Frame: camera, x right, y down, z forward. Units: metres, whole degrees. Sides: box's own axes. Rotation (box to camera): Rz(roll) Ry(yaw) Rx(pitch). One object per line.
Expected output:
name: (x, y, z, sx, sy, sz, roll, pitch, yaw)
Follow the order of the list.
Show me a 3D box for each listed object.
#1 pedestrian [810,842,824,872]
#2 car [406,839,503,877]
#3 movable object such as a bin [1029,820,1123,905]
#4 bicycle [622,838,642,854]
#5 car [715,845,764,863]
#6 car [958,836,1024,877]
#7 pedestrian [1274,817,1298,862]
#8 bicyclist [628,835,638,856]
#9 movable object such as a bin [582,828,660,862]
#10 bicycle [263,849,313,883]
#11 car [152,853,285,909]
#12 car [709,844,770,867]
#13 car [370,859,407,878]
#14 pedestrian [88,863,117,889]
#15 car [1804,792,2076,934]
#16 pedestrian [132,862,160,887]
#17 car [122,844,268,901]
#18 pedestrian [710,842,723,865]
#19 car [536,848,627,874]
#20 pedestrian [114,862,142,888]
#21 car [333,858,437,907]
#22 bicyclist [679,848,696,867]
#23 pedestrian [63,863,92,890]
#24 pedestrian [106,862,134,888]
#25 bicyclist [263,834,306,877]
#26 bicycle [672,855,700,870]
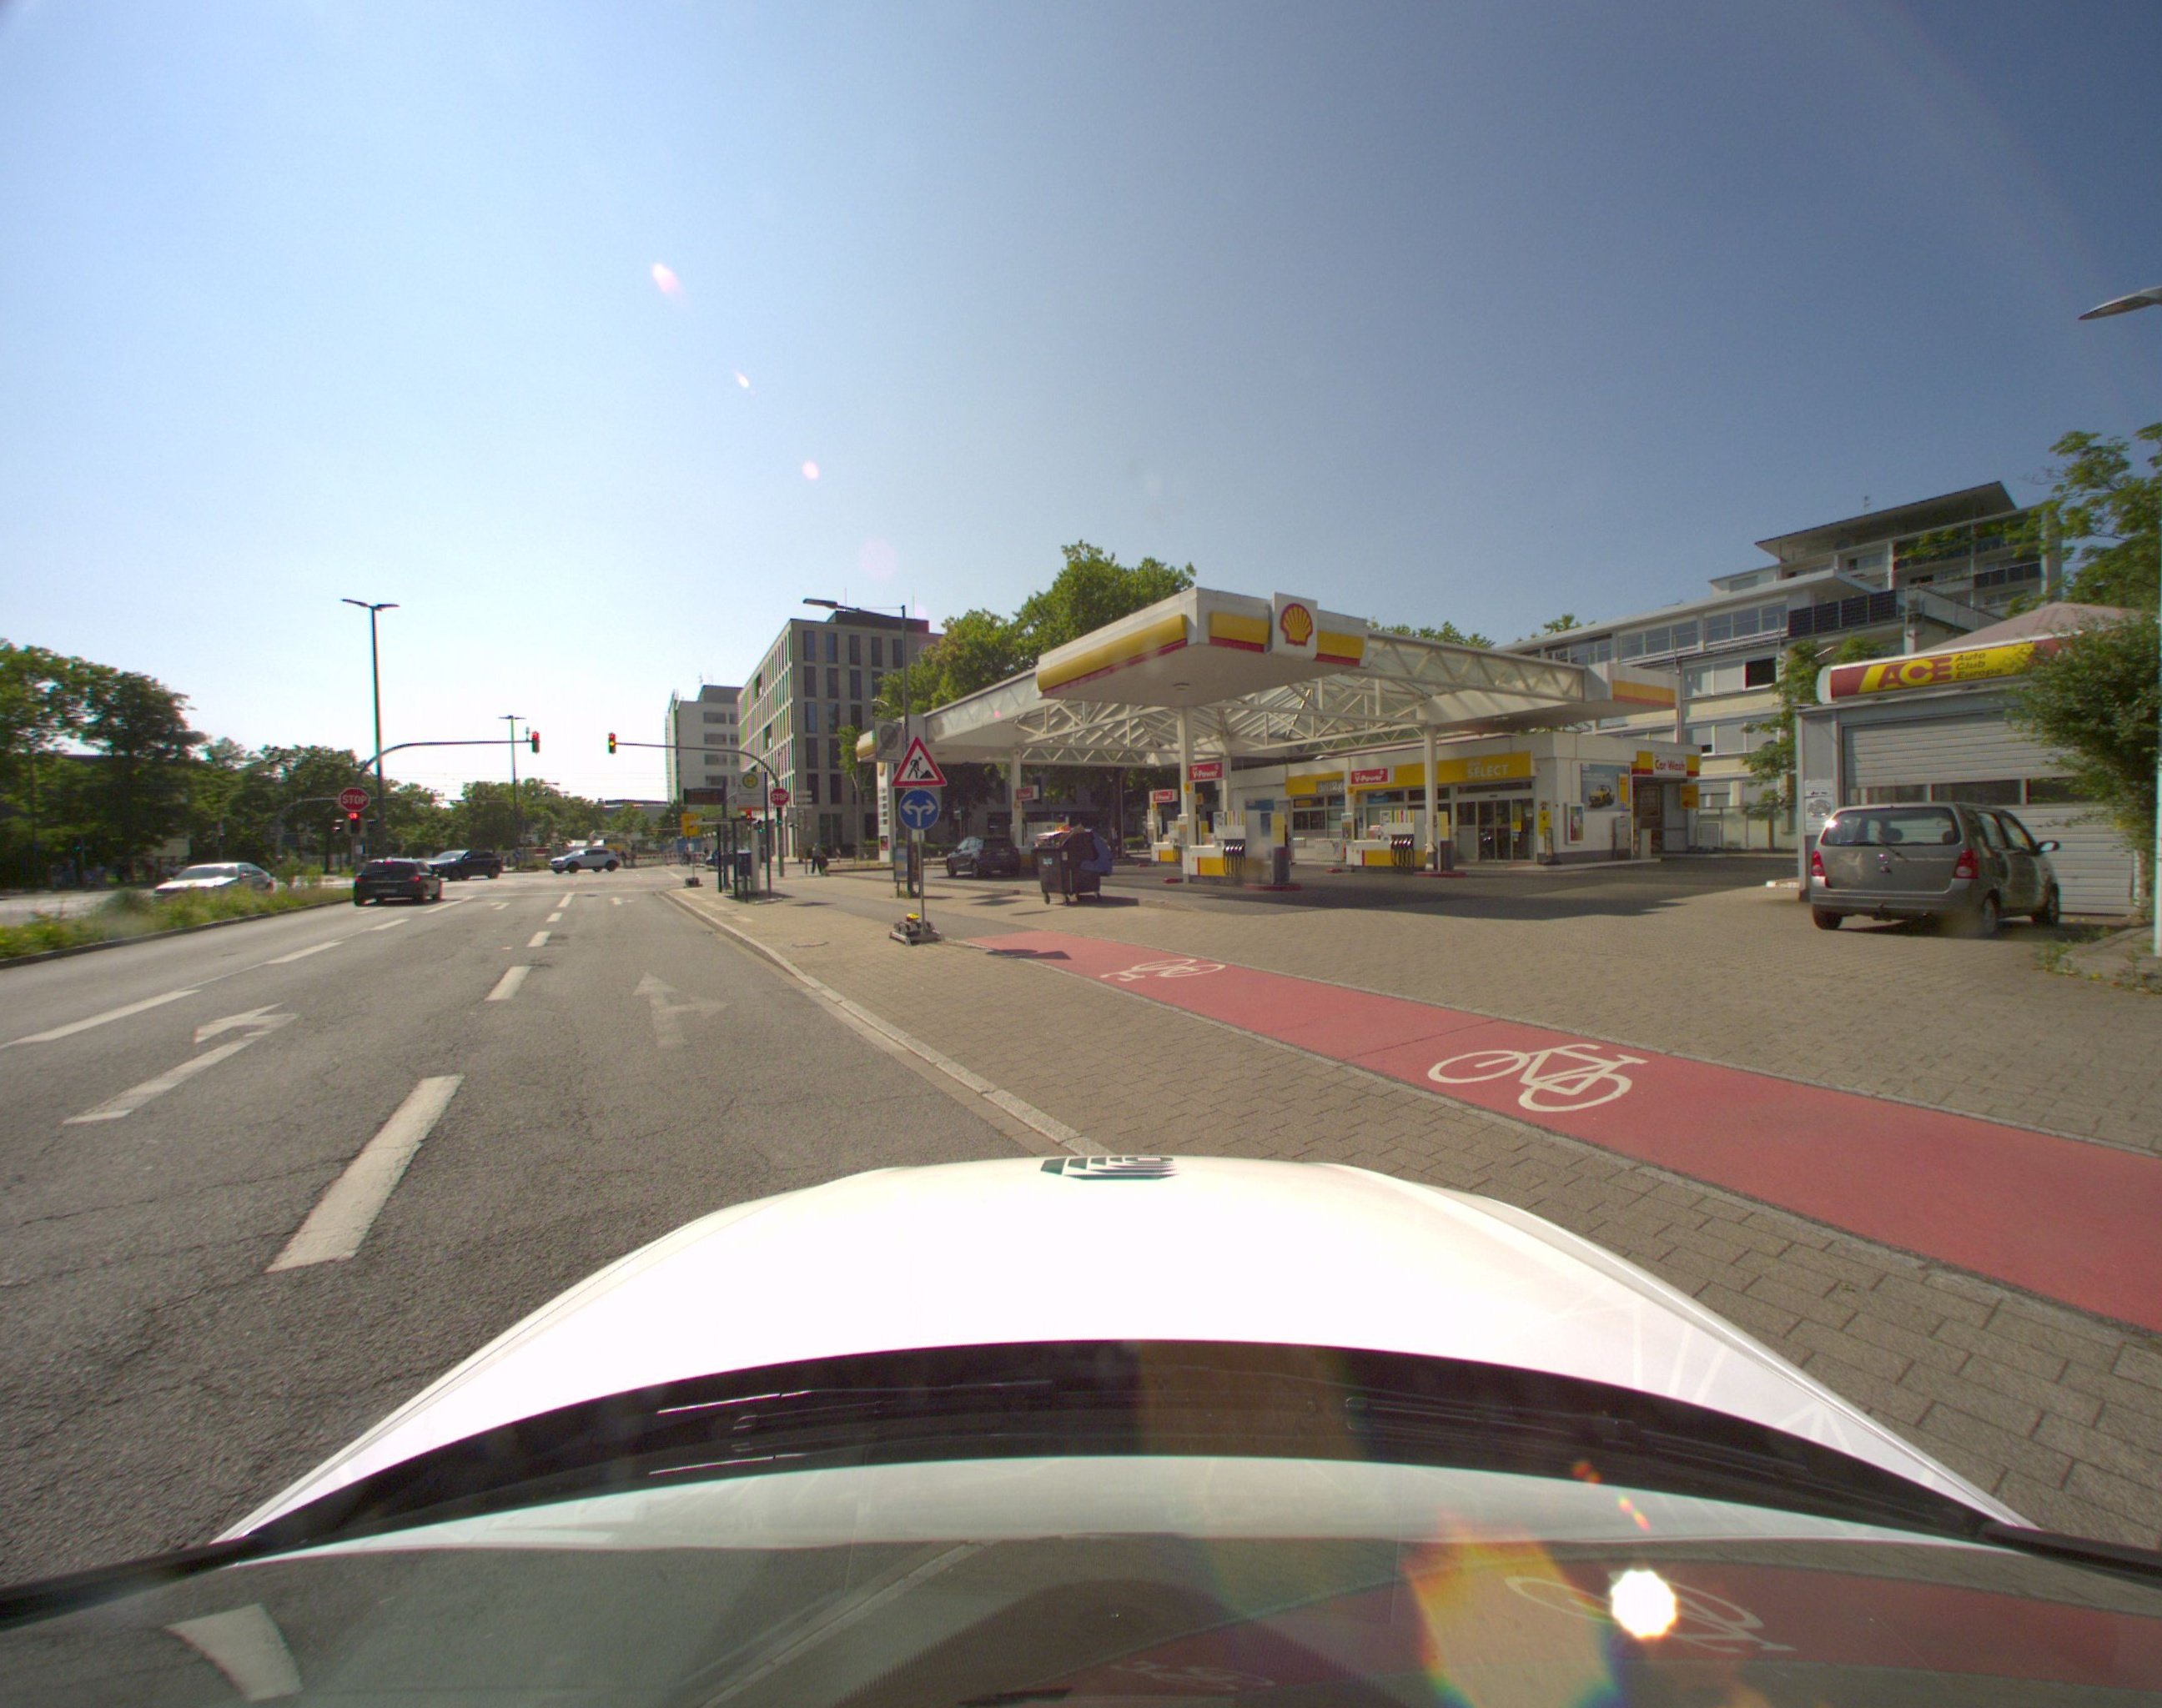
pedestrian: (-13.951, 0.164, 43.037, 0.622, 1.543, 0.457, -2, 1, -32)
car: (-35.532, 0.164, 46.387, 1.990, 2.013, 4.863, -2, 1, -4)
movable object such as a bin: (-0.120, 0.148, 16.877, 1.317, 1.592, 1.381, -5, 3, -33)
bicycle: (-55.549, -0.947, 100.706, 2.098, 1.961, 0.821, -1, 0, -25)
car: (-32.201, -0.006, 76.770, 4.014, 1.581, 1.825, -2, 1, -32)
car: (-3.483, 0.078, 30.869, 1.656, 1.398, 3.617, -2, 1, -20)
pedestrian: (8.345, -0.580, 33.164, 0.676, 1.821, 0.626, -2, 1, -24)
bicyclist: (-55.433, -1.091, 100.764, 1.075, 2.574, 0.821, -1, 0, -25)
movable object such as a bin: (-66.852, -1.352, 118.570, 9.735, 4.549, 3.134, -2, 1, -29)
bicycle: (-57.113, 0.833, 58.738, 1.610, 2.268, 3.961, -2, 1, -31)
car: (-28.554, 0.820, 27.148, 1.903, 1.610, 4.473, -2, 1, -32)
car: (-27.029, 0.075, 64.444, 4.139, 1.638, 1.979, -3, 1, -33)
car: (-58.094, 1.202, 68.308, 3.914, 1.509, 1.761, -1, 1, 42)
pedestrian: (-62.307, 1.378, 51.866, 0.654, 1.611, 0.939, -1, 1, -8)
car: (11.420, 0.052, 10.785, 3.844, 1.596, 1.575, -2, 1, -29)
pedestrian: (-60.939, 1.323, 53.085, 0.665, 1.611, 0.939, -1, 1, -8)
car: (-28.817, 0.530, 26.687, 2.007, 1.638, 4.352, -2, 2, -31)
pedestrian: (-32.771, -0.072, 73.130, 0.776, 2.013, 0.776, -1, 1, -2)
car: (-34.274, 0.464, 56.026, 1.974, 1.636, 4.901, -1, 1, 32)
pedestrian: (-60.606, 1.329, 51.772, 0.654, 1.611, 0.939, -1, 1, -8)
car: (-22.494, 0.860, 26.495, 2.007, 1.398, 3.959, -2, 1, -33)
bicyclist: (-35.417, 0.346, 73.315, 1.245, 1.673, 0.521, -1, 1, -23)
pedestrian: (-62.901, 1.409, 51.048, 0.654, 1.611, 0.939, -1, 1, -8)
pedestrian: (-61.643, 1.354, 52.244, 0.654, 1.611, 0.939, -1, 1, -8)
bicyclist: (-56.713, 0.081, 58.034, 1.610, 2.930, 2.330, -2, 1, -31)
bicycle: (-35.522, 0.739, 73.265, 2.238, 1.285, 0.521, -1, 1, -23)
